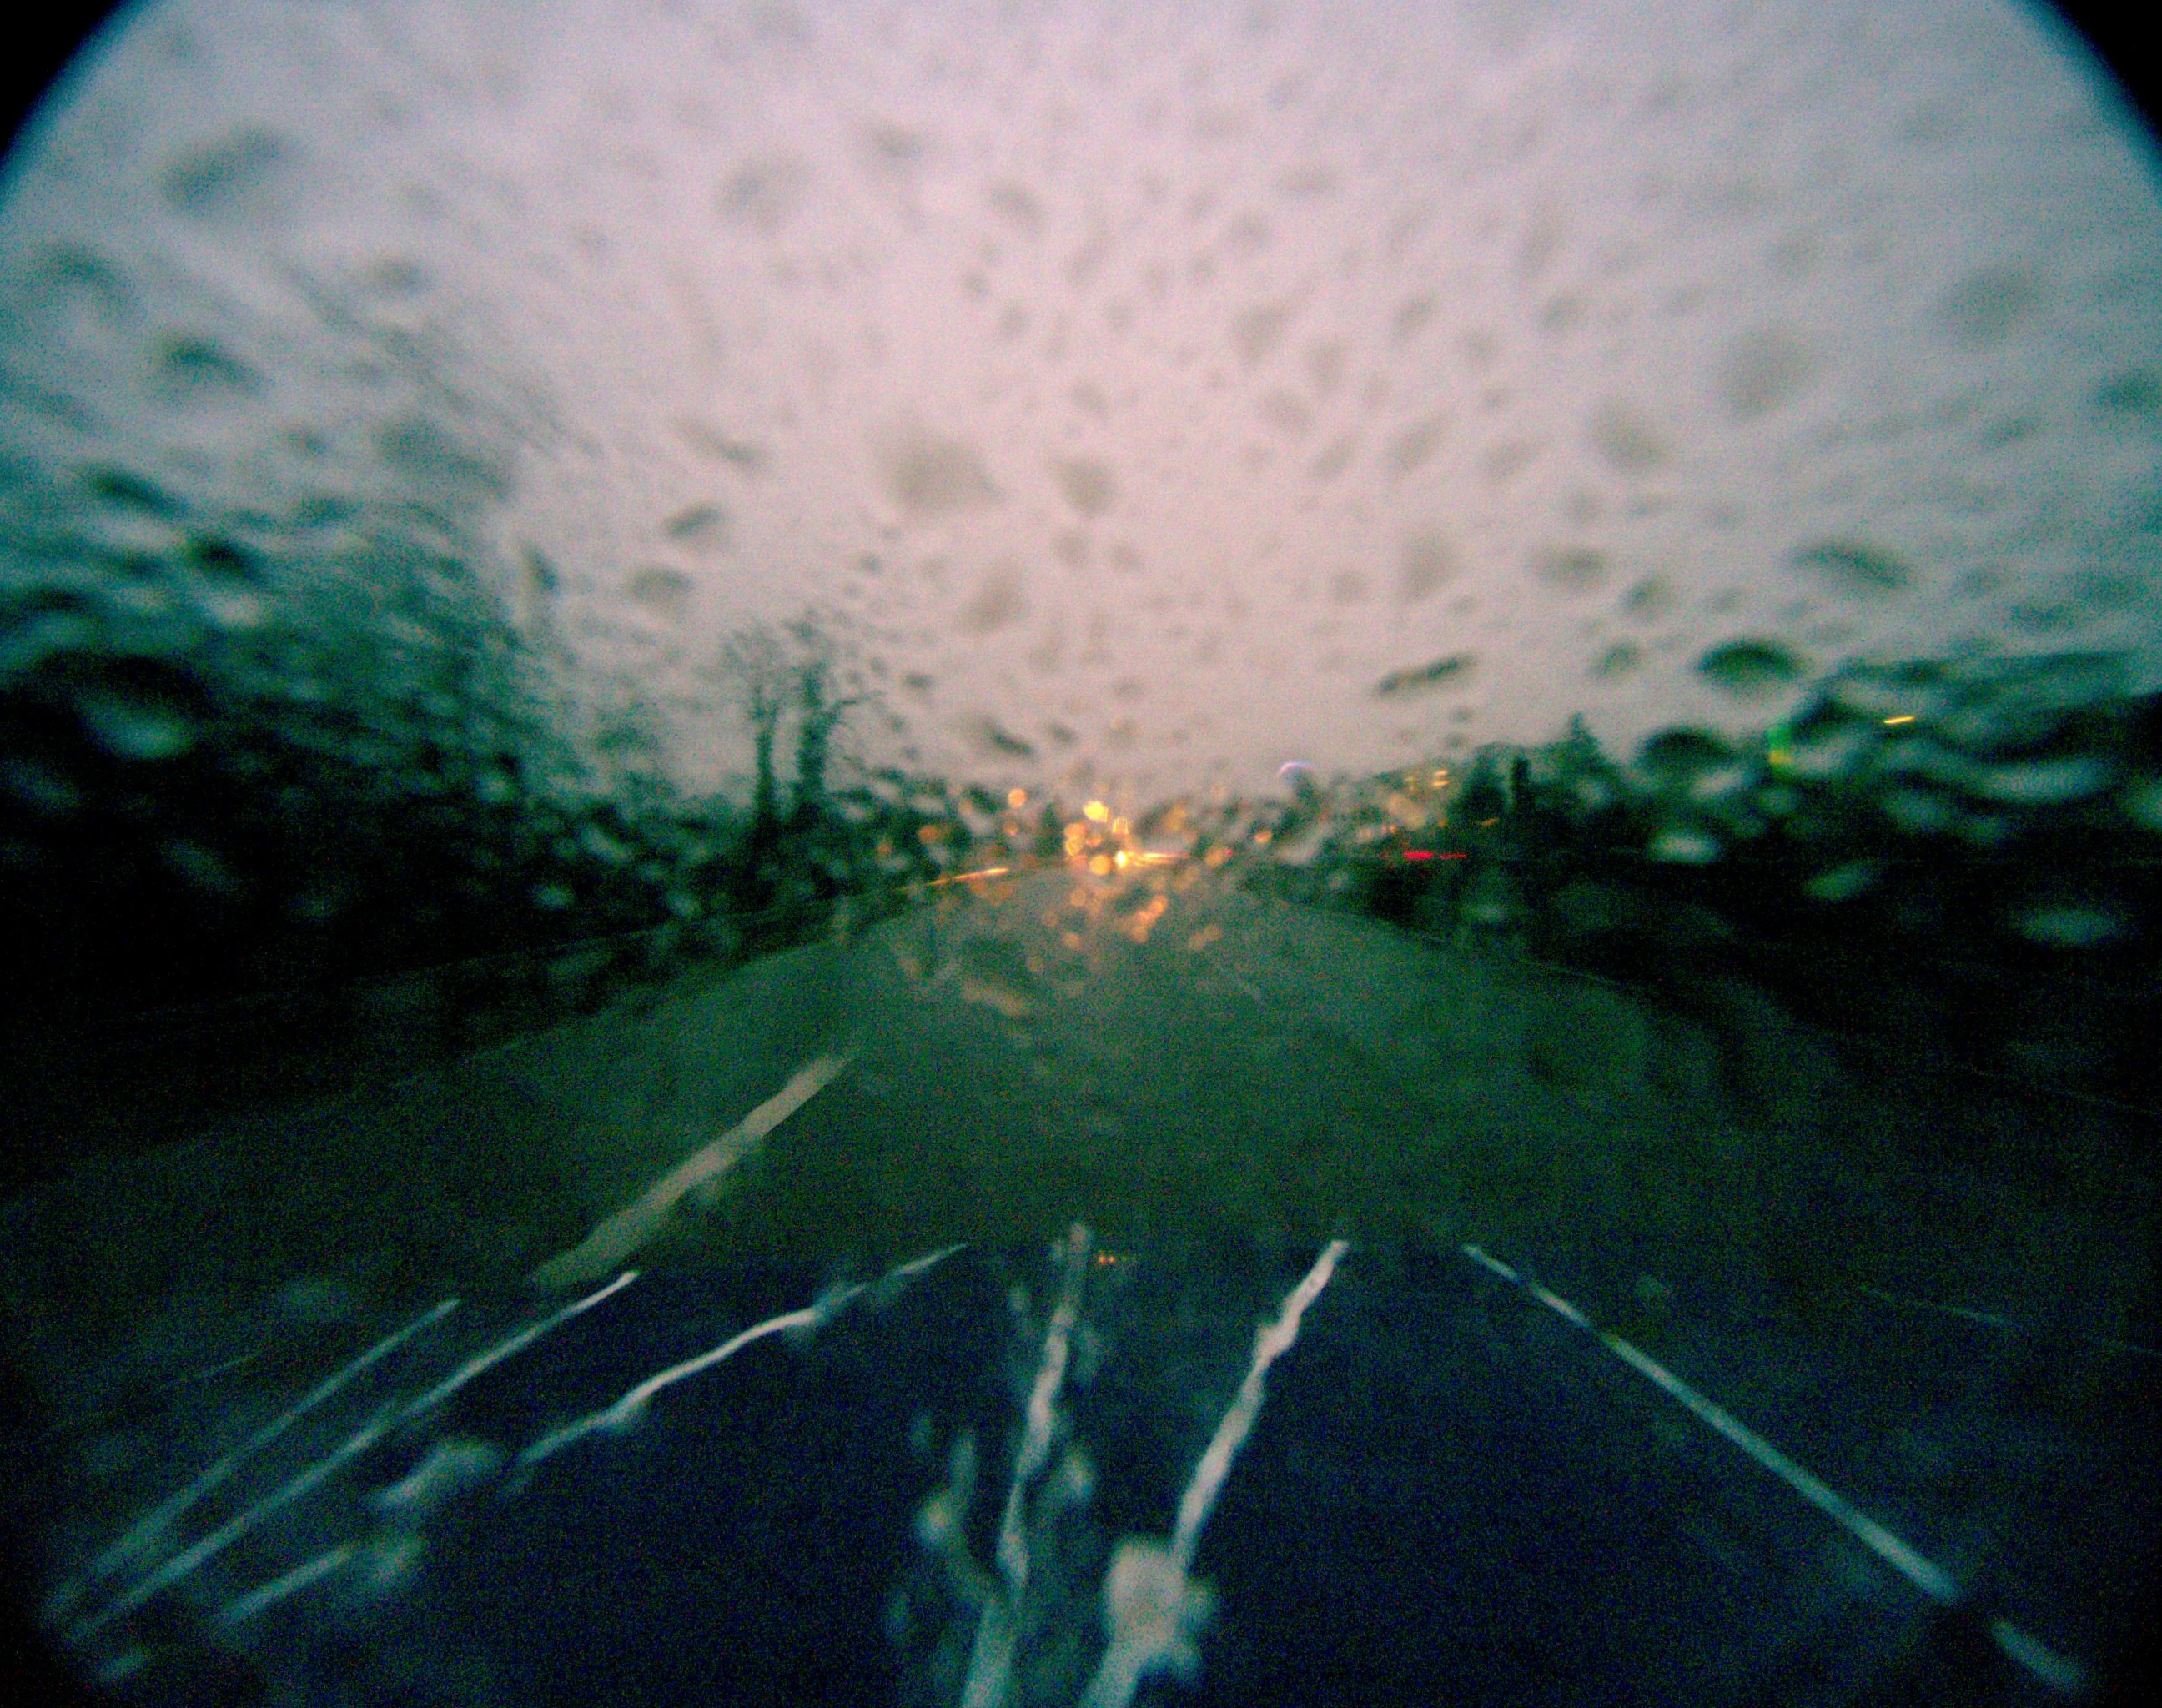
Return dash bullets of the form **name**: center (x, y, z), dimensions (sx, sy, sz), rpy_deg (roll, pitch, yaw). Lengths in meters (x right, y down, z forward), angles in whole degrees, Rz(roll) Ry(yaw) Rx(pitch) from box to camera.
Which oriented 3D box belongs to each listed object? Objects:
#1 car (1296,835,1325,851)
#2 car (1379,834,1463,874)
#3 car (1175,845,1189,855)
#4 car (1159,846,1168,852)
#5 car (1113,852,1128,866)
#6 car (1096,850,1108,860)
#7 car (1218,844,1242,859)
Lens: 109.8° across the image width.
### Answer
- **car**: center (30.503, -1.420, 101.079), dimensions (2.160, 2.002, 4.960), rpy_deg (-3, 0, -1)
- **car**: center (14.180, -0.034, 31.954), dimensions (1.741, 1.499, 4.000), rpy_deg (-3, 1, 1)
- **car**: center (16.584, -0.719, 125.130), dimensions (1.741, 1.499, 4.000), rpy_deg (-3, 1, 1)
- **car**: center (19.393, -1.193, 179.486), dimensions (1.741, 1.499, 4.000), rpy_deg (-3, 1, 1)
- **car**: center (6.395, 0.841, 122.971), dimensions (1.999, 2.002, 3.999), rpy_deg (-5, 0, -1)
- **car**: center (3.230, 0.071, 113.988), dimensions (1.682, 1.401, 3.775), rpy_deg (-2, 0, 2)
- **car**: center (15.867, -0.260, 80.958), dimensions (1.741, 1.499, 4.000), rpy_deg (-3, 1, 1)
